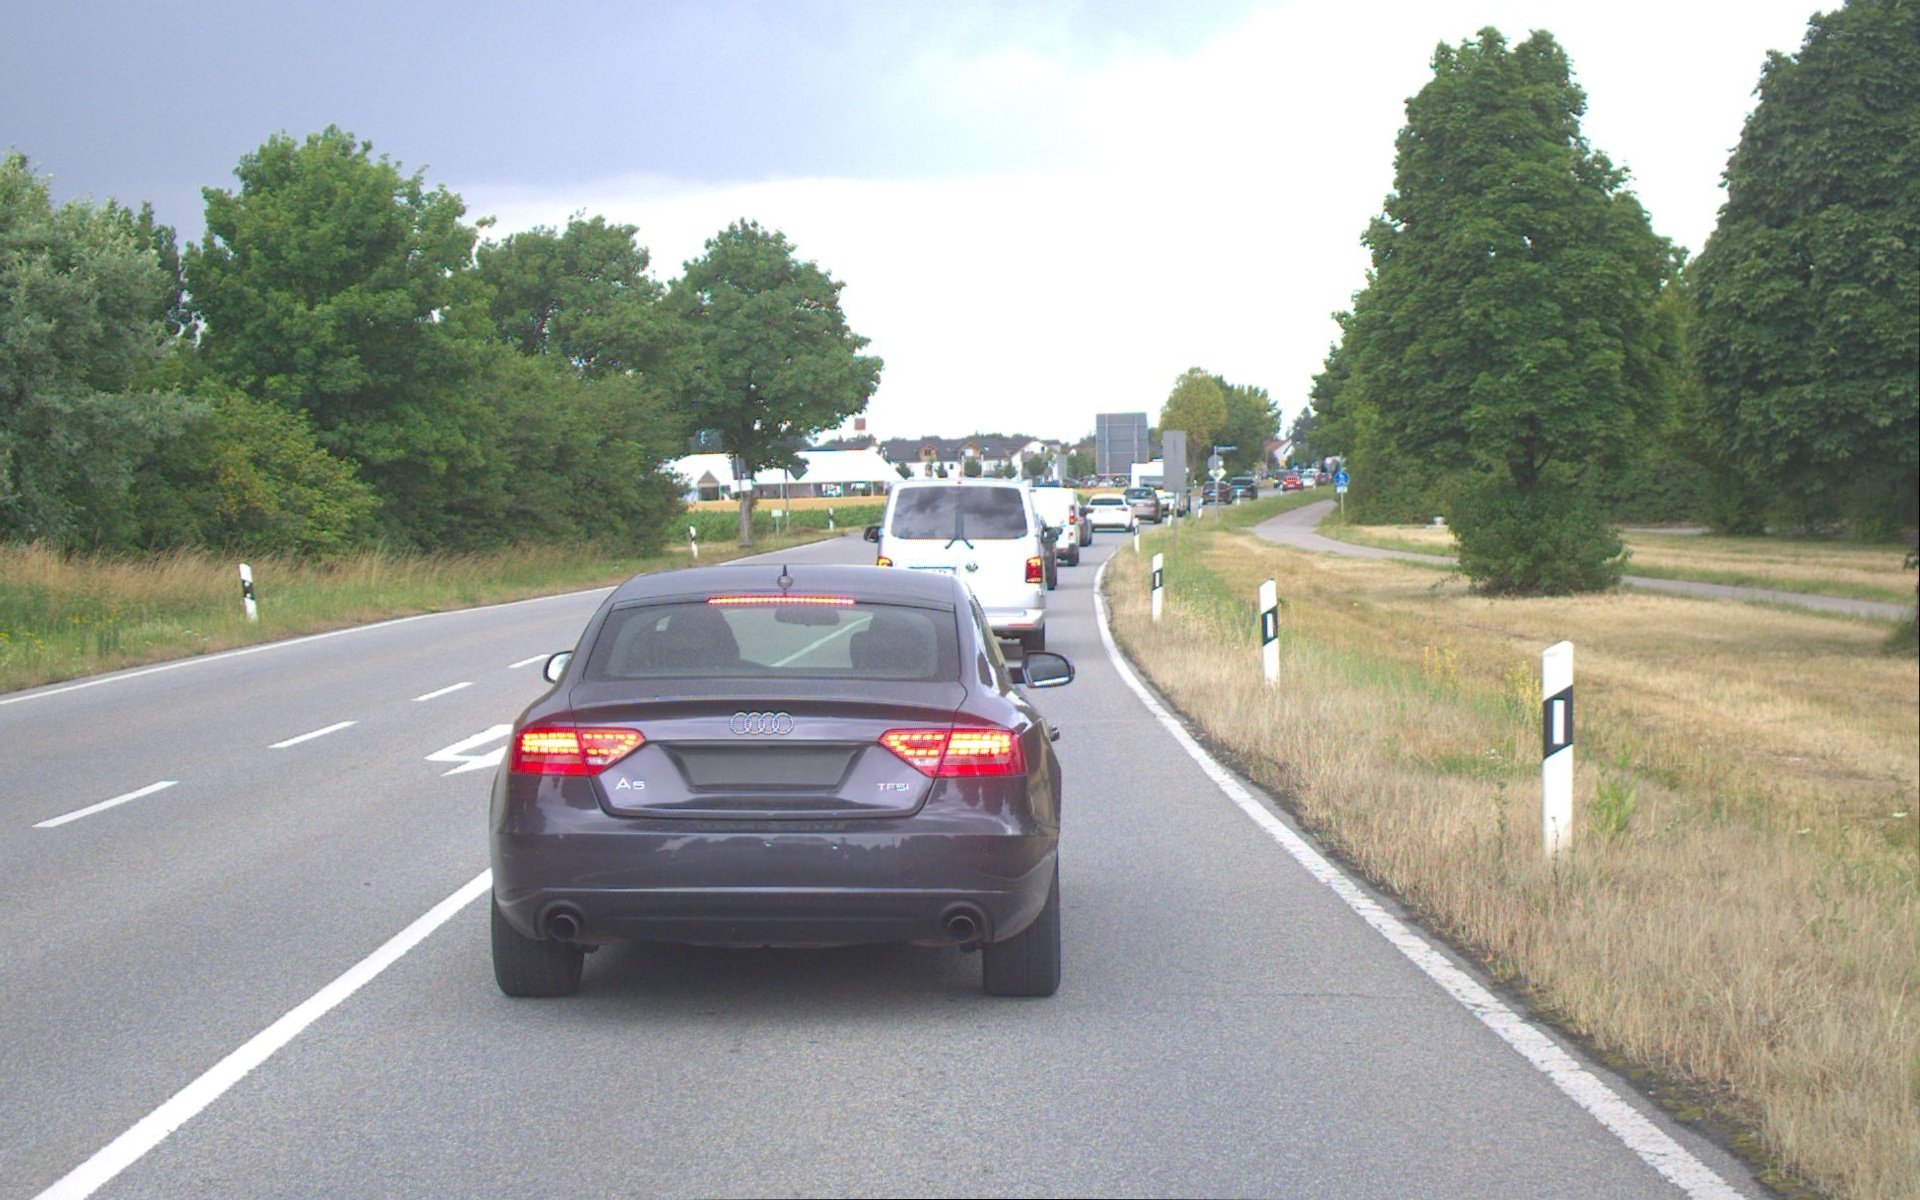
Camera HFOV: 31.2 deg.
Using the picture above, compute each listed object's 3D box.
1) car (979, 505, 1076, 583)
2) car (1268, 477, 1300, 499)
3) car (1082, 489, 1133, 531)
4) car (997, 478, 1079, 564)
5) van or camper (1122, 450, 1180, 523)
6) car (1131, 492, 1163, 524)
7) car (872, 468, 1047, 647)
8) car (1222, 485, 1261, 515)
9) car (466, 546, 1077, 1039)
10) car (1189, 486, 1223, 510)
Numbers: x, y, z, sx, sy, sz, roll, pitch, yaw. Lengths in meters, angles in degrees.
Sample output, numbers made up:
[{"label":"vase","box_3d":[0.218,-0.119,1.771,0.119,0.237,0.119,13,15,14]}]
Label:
[{"label":"car","box_3d":[1.320,-1.091,66.420,1.795,1.459,3.248,0,1,3]},{"label":"car","box_3d":[22.356,-7.700,237.087,1.821,1.487,4.000,0,2,0]},{"label":"car","box_3d":[5.512,-3.352,128.073,1.736,1.509,3.746,0,1,5]},{"label":"car","box_3d":[1.972,-1.991,86.105,1.993,2.081,4.000,0,1,2]},{"label":"van or camper","box_3d":[9.257,-5.456,166.120,2.341,3.469,5.717,0,1,8]},{"label":"car","box_3d":[8.015,-3.954,147.224,1.258,1.349,3.465,0,1,5]},{"label":"car","box_3d":[-0.047,-0.516,38.225,1.838,1.876,4.001,0,2,-1]},{"label":"car","box_3d":[15.557,-5.527,190.359,1.821,1.591,4.000,0,2,0]},{"label":"car","box_3d":[-0.597,0.535,12.084,1.782,1.372,4.001,0,2,-1]},{"label":"car","box_3d":[15.183,-6.302,211.968,1.719,1.446,3.999,1,2,9]}]
